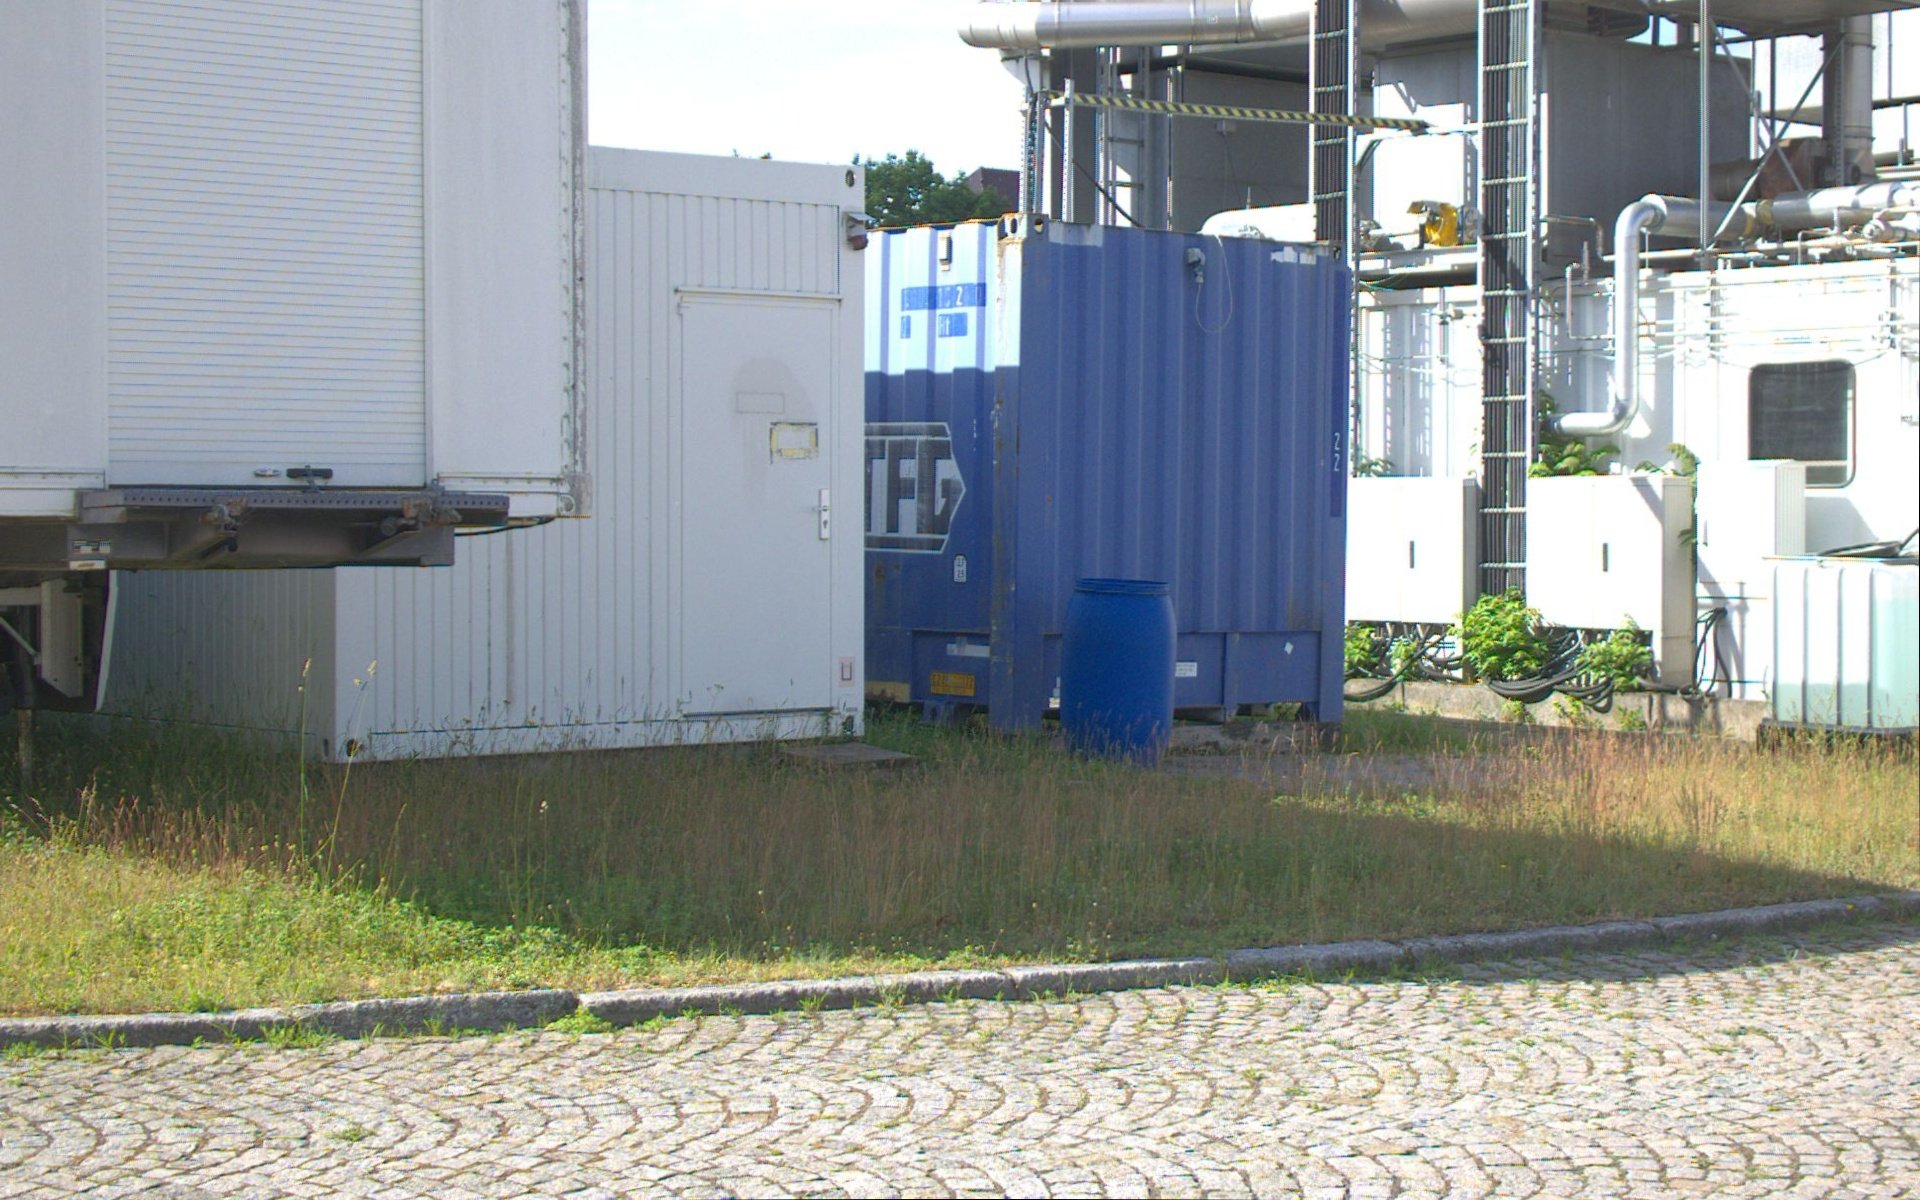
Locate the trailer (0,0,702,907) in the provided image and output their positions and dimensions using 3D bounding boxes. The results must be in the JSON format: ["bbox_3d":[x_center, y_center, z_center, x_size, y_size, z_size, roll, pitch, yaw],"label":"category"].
[{"bbox_3d":[-5.390,-1.194,15.164,2.773,3.897,10.883,-1,2,-39],"label":"trailer"}]
